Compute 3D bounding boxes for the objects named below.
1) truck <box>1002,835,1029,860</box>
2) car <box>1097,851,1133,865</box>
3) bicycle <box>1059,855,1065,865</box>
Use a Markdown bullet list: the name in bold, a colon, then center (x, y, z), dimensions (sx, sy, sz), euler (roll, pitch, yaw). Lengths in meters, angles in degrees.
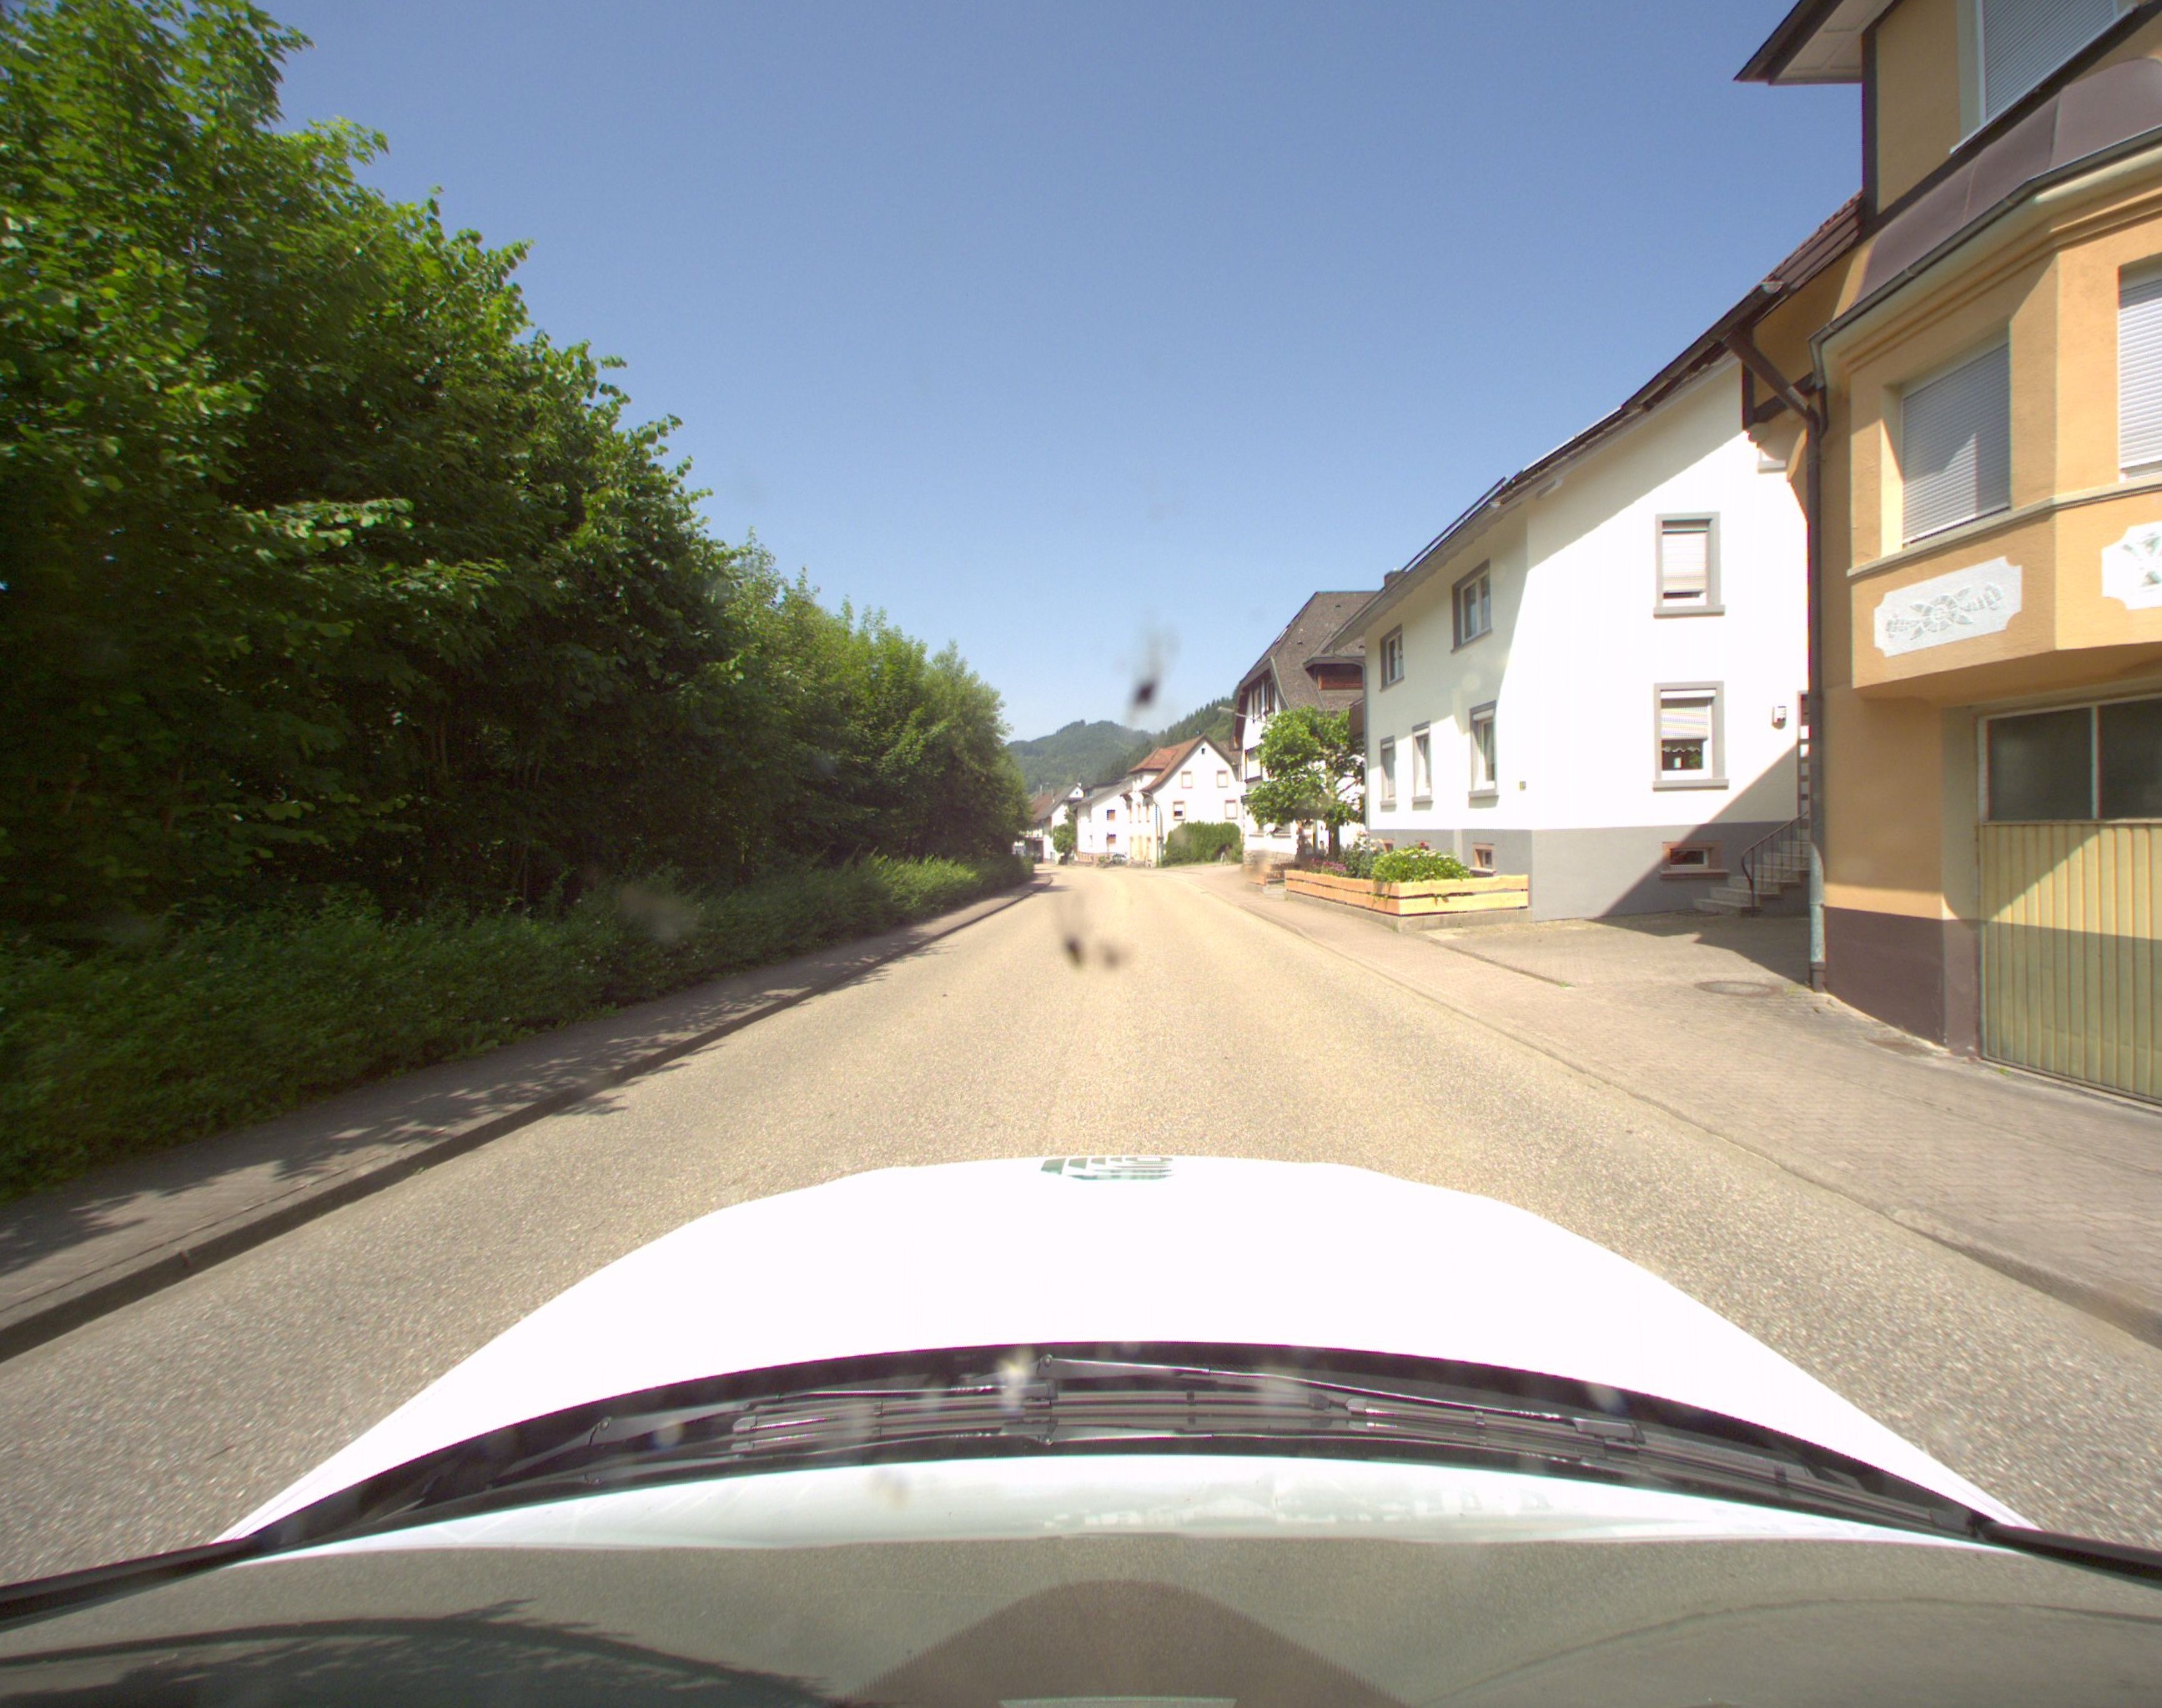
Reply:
- **truck**: center (-11.936, -1.058, 146.593), dimensions (3.367, 3.782, 8.401), euler (-5, -1, -13)
- **car**: center (3.900, 0.497, 93.697), dimensions (3.727, 1.427, 1.620), euler (-3, 0, 35)
- **bicycle**: center (-2.724, 0.887, 118.275), dimensions (0.425, 1.396, 2.270), euler (-5, 1, -9)
